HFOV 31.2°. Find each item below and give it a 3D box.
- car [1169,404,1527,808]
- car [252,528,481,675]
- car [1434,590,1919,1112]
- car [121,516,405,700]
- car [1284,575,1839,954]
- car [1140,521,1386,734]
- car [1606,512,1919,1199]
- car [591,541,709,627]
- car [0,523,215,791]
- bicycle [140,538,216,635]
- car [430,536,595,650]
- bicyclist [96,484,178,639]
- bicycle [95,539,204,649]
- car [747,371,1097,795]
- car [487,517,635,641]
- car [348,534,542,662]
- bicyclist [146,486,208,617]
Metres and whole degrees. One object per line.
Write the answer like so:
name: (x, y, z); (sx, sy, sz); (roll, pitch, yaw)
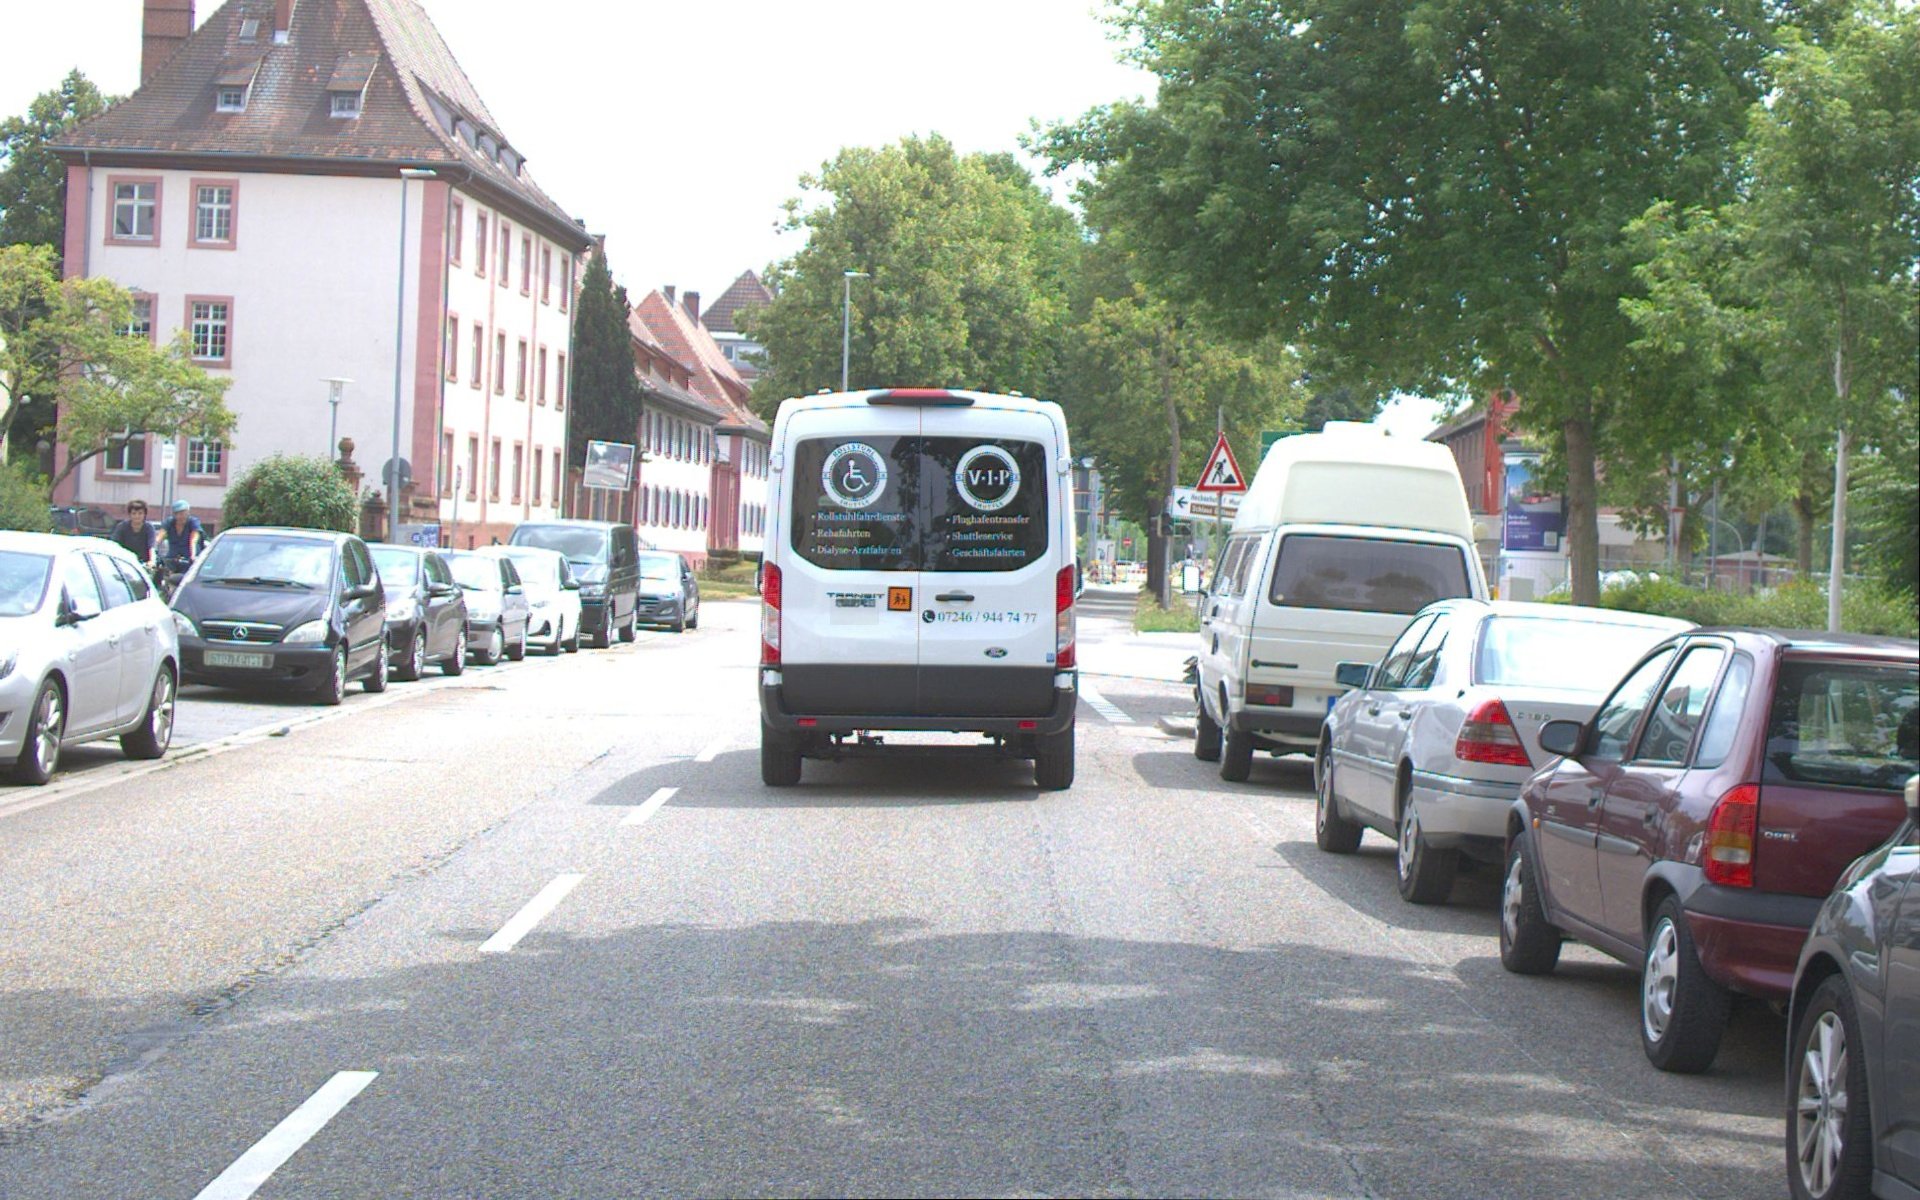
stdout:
car: (2.764, 0.016, 25.632); (1.897, 2.578, 4.829); (5, 1, 0)
car: (-6.567, -0.004, 38.416); (1.786, 1.457, 3.861); (3, 1, 0)
car: (2.960, 0.782, 12.247); (1.712, 1.459, 4.001); (5, 1, -3)
car: (-6.514, 0.049, 32.520); (1.786, 1.538, 3.861); (3, 1, 0)
car: (2.811, 0.696, 17.100); (1.680, 1.464, 4.556); (5, 1, -2)
car: (2.706, 0.213, 31.477); (1.712, 1.689, 4.001); (5, 1, -1)
car: (2.974, 0.717, 7.110); (1.927, 1.655, 5.325); (5, 1, -3)
car: (-5.832, -0.320, 65.067); (1.786, 1.477, 3.861); (3, 1, 0)
car: (-6.267, 0.259, 21.833); (1.886, 1.483, 4.633); (3, 1, 1)
bicycle: (-9.646, -0.172, 42.437); (0.541, 1.171, 1.349); (2, 1, 3)
car: (-6.454, -0.121, 49.923); (1.786, 1.477, 3.861); (3, 1, 0)
bicyclist: (-8.920, -0.417, 37.280); (0.537, 1.647, 1.047); (2, 1, 4)
bicycle: (-8.892, -0.077, 37.800); (0.541, 1.171, 2.091); (2, 1, 4)
car: (-0.325, -0.116, 23.188); (2.070, 2.532, 4.635); (1, 0, -2)
car: (-6.363, -0.345, 55.162); (1.786, 1.820, 3.974); (3, 1, 0)
car: (-6.510, -0.051, 43.795); (1.786, 1.457, 3.861); (3, 1, 0)
bicyclist: (-9.634, -0.598, 42.322); (0.536, 1.580, 0.691); (2, 1, 3)
